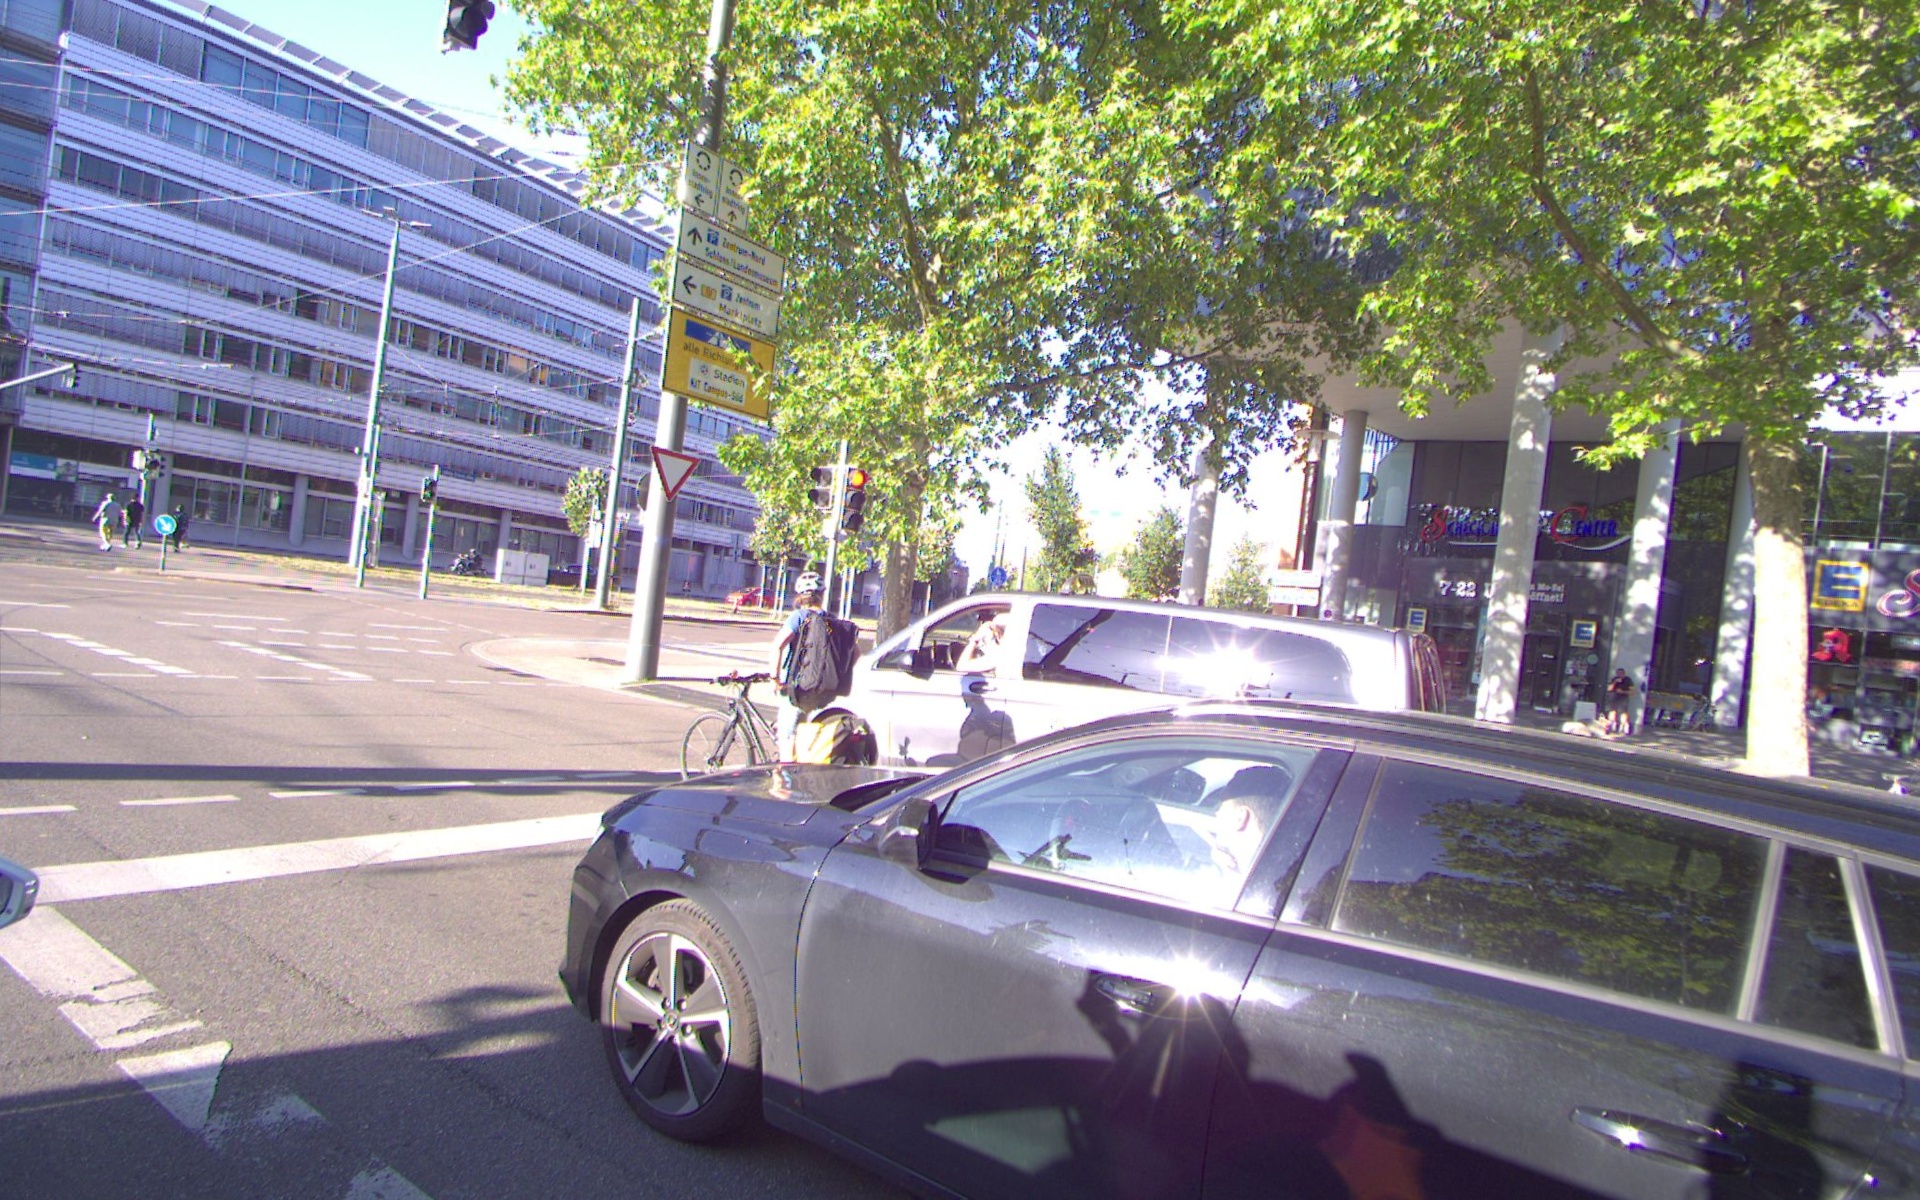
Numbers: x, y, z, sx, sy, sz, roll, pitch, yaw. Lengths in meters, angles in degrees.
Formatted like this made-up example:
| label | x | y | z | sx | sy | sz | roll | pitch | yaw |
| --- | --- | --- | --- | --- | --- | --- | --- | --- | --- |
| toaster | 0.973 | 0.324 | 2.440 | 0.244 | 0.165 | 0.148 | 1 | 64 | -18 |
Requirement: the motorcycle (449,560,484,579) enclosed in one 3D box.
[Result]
| label | x | y | z | sx | sy | sz | roll | pitch | yaw |
| --- | --- | --- | --- | --- | --- | --- | --- | --- | --- |
| motorcycle | -25.794 | -1.580 | 52.597 | 0.460 | 0.820 | 1.568 | 7 | 0 | 36 |

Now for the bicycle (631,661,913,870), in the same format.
| label | x | y | z | sx | sy | sz | roll | pitch | yaw |
| --- | --- | --- | --- | --- | --- | --- | --- | --- | --- |
| bicycle | -1.271 | 1.019 | 6.617 | 1.839 | 0.993 | 0.561 | 7 | 1 | 32 |

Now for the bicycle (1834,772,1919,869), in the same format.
| label | x | y | z | sx | sy | sz | roll | pitch | yaw |
| --- | --- | --- | --- | --- | --- | --- | --- | --- | --- |
| bicycle | 10.548 | 2.479 | 11.096 | 1.233 | 0.898 | 0.462 | 7 | 1 | 32 |

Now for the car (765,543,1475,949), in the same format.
| label | x | y | z | sx | sy | sz | roll | pitch | yaw |
| --- | --- | --- | --- | --- | --- | --- | --- | --- | --- |
| car | 1.091 | 0.839 | 7.952 | 5.012 | 2.004 | 1.939 | 7 | 0 | 31 |

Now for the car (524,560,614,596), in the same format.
| label | x | y | z | sx | sy | sz | roll | pitch | yaw |
| --- | --- | --- | --- | --- | --- | --- | --- | --- | --- |
| car | -21.002 | -1.173 | 54.201 | 1.758 | 1.415 | 4.157 | 7 | 0 | 37 |

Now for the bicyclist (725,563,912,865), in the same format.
| label | x | y | z | sx | sy | sz | roll | pitch | yaw |
| --- | --- | --- | --- | --- | --- | --- | --- | --- | --- |
| bicyclist | -0.889 | 0.683 | 6.353 | 0.766 | 1.714 | 0.632 | 7 | 1 | 32 |

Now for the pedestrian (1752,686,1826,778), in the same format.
| label | x | y | z | sx | sy | sz | roll | pitch | yaw |
| --- | --- | --- | --- | --- | --- | --- | --- | --- | --- |
| pedestrian | 17.837 | 2.821 | 21.669 | 0.593 | 1.805 | 0.885 | 7 | 1 | -12 |

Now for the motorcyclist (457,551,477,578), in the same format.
| label | x | y | z | sx | sy | sz | roll | pitch | yaw |
| --- | --- | --- | --- | --- | --- | --- | --- | --- | --- |
| motorcyclist | -25.764 | -1.843 | 52.598 | 0.452 | 1.291 | 0.712 | 7 | 1 | 36 |

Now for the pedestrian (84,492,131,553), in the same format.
| label | x | y | z | sx | sy | sz | roll | pitch | yaw |
| --- | --- | --- | --- | --- | --- | --- | --- | --- | --- |
| pedestrian | -27.340 | -2.476 | 32.253 | 0.858 | 1.811 | 0.863 | 7 | 1 | 37 |

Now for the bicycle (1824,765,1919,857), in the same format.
| label | x | y | z | sx | sy | sz | roll | pitch | yaw |
| --- | --- | --- | --- | --- | --- | --- | --- | --- | --- |
| bicycle | 11.504 | 2.608 | 12.355 | 0.460 | 0.938 | 1.210 | 6 | 0 | -39 |

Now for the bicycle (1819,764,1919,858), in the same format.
| label | x | y | z | sx | sy | sz | roll | pitch | yaw |
| --- | --- | --- | --- | --- | --- | --- | --- | --- | --- |
| bicycle | 11.207 | 2.545 | 12.083 | 0.437 | 0.930 | 1.210 | 6 | 0 | -39 |

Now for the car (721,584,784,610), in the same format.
| label | x | y | z | sx | sy | sz | roll | pitch | yaw |
| --- | --- | --- | --- | --- | --- | --- | --- | --- | --- |
| car | -14.038 | -0.174 | 68.261 | 1.758 | 1.411 | 3.984 | 7 | 1 | 37 |

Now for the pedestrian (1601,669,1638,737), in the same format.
| label | x | y | z | sx | sy | sz | roll | pitch | yaw |
| --- | --- | --- | --- | --- | --- | --- | --- | --- | --- |
| pedestrian | 17.553 | 2.742 | 26.788 | 0.598 | 1.707 | 0.511 | 6 | 1 | -41 |

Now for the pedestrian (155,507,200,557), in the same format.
| label | x | y | z | sx | sy | sz | roll | pitch | yaw |
| --- | --- | --- | --- | --- | --- | --- | --- | --- | --- |
| pedestrian | -27.280 | -2.365 | 35.077 | 0.883 | 1.583 | 0.947 | 7 | 1 | 39 |

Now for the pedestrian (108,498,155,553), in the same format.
| label | x | y | z | sx | sy | sz | roll | pitch | yaw |
| --- | --- | --- | --- | --- | --- | --- | --- | --- | --- |
| pedestrian | -28.205 | -2.539 | 34.252 | 1.020 | 1.706 | 0.912 | 7 | 1 | 39 |

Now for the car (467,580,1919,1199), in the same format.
| label | x | y | z | sx | sy | sz | roll | pitch | yaw |
| --- | --- | --- | --- | --- | --- | --- | --- | --- | --- |
| car | 0.785 | 0.941 | 2.745 | 4.199 | 1.431 | 1.742 | 7 | -2 | 32 |

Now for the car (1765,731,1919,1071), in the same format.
| label | x | y | z | sx | sy | sz | roll | pitch | yaw |
| --- | --- | --- | --- | --- | --- | --- | --- | --- | --- |
| car | 6.570 | 1.730 | 4.589 | 4.181 | 1.503 | 1.741 | 7 | 0 | 31 |
